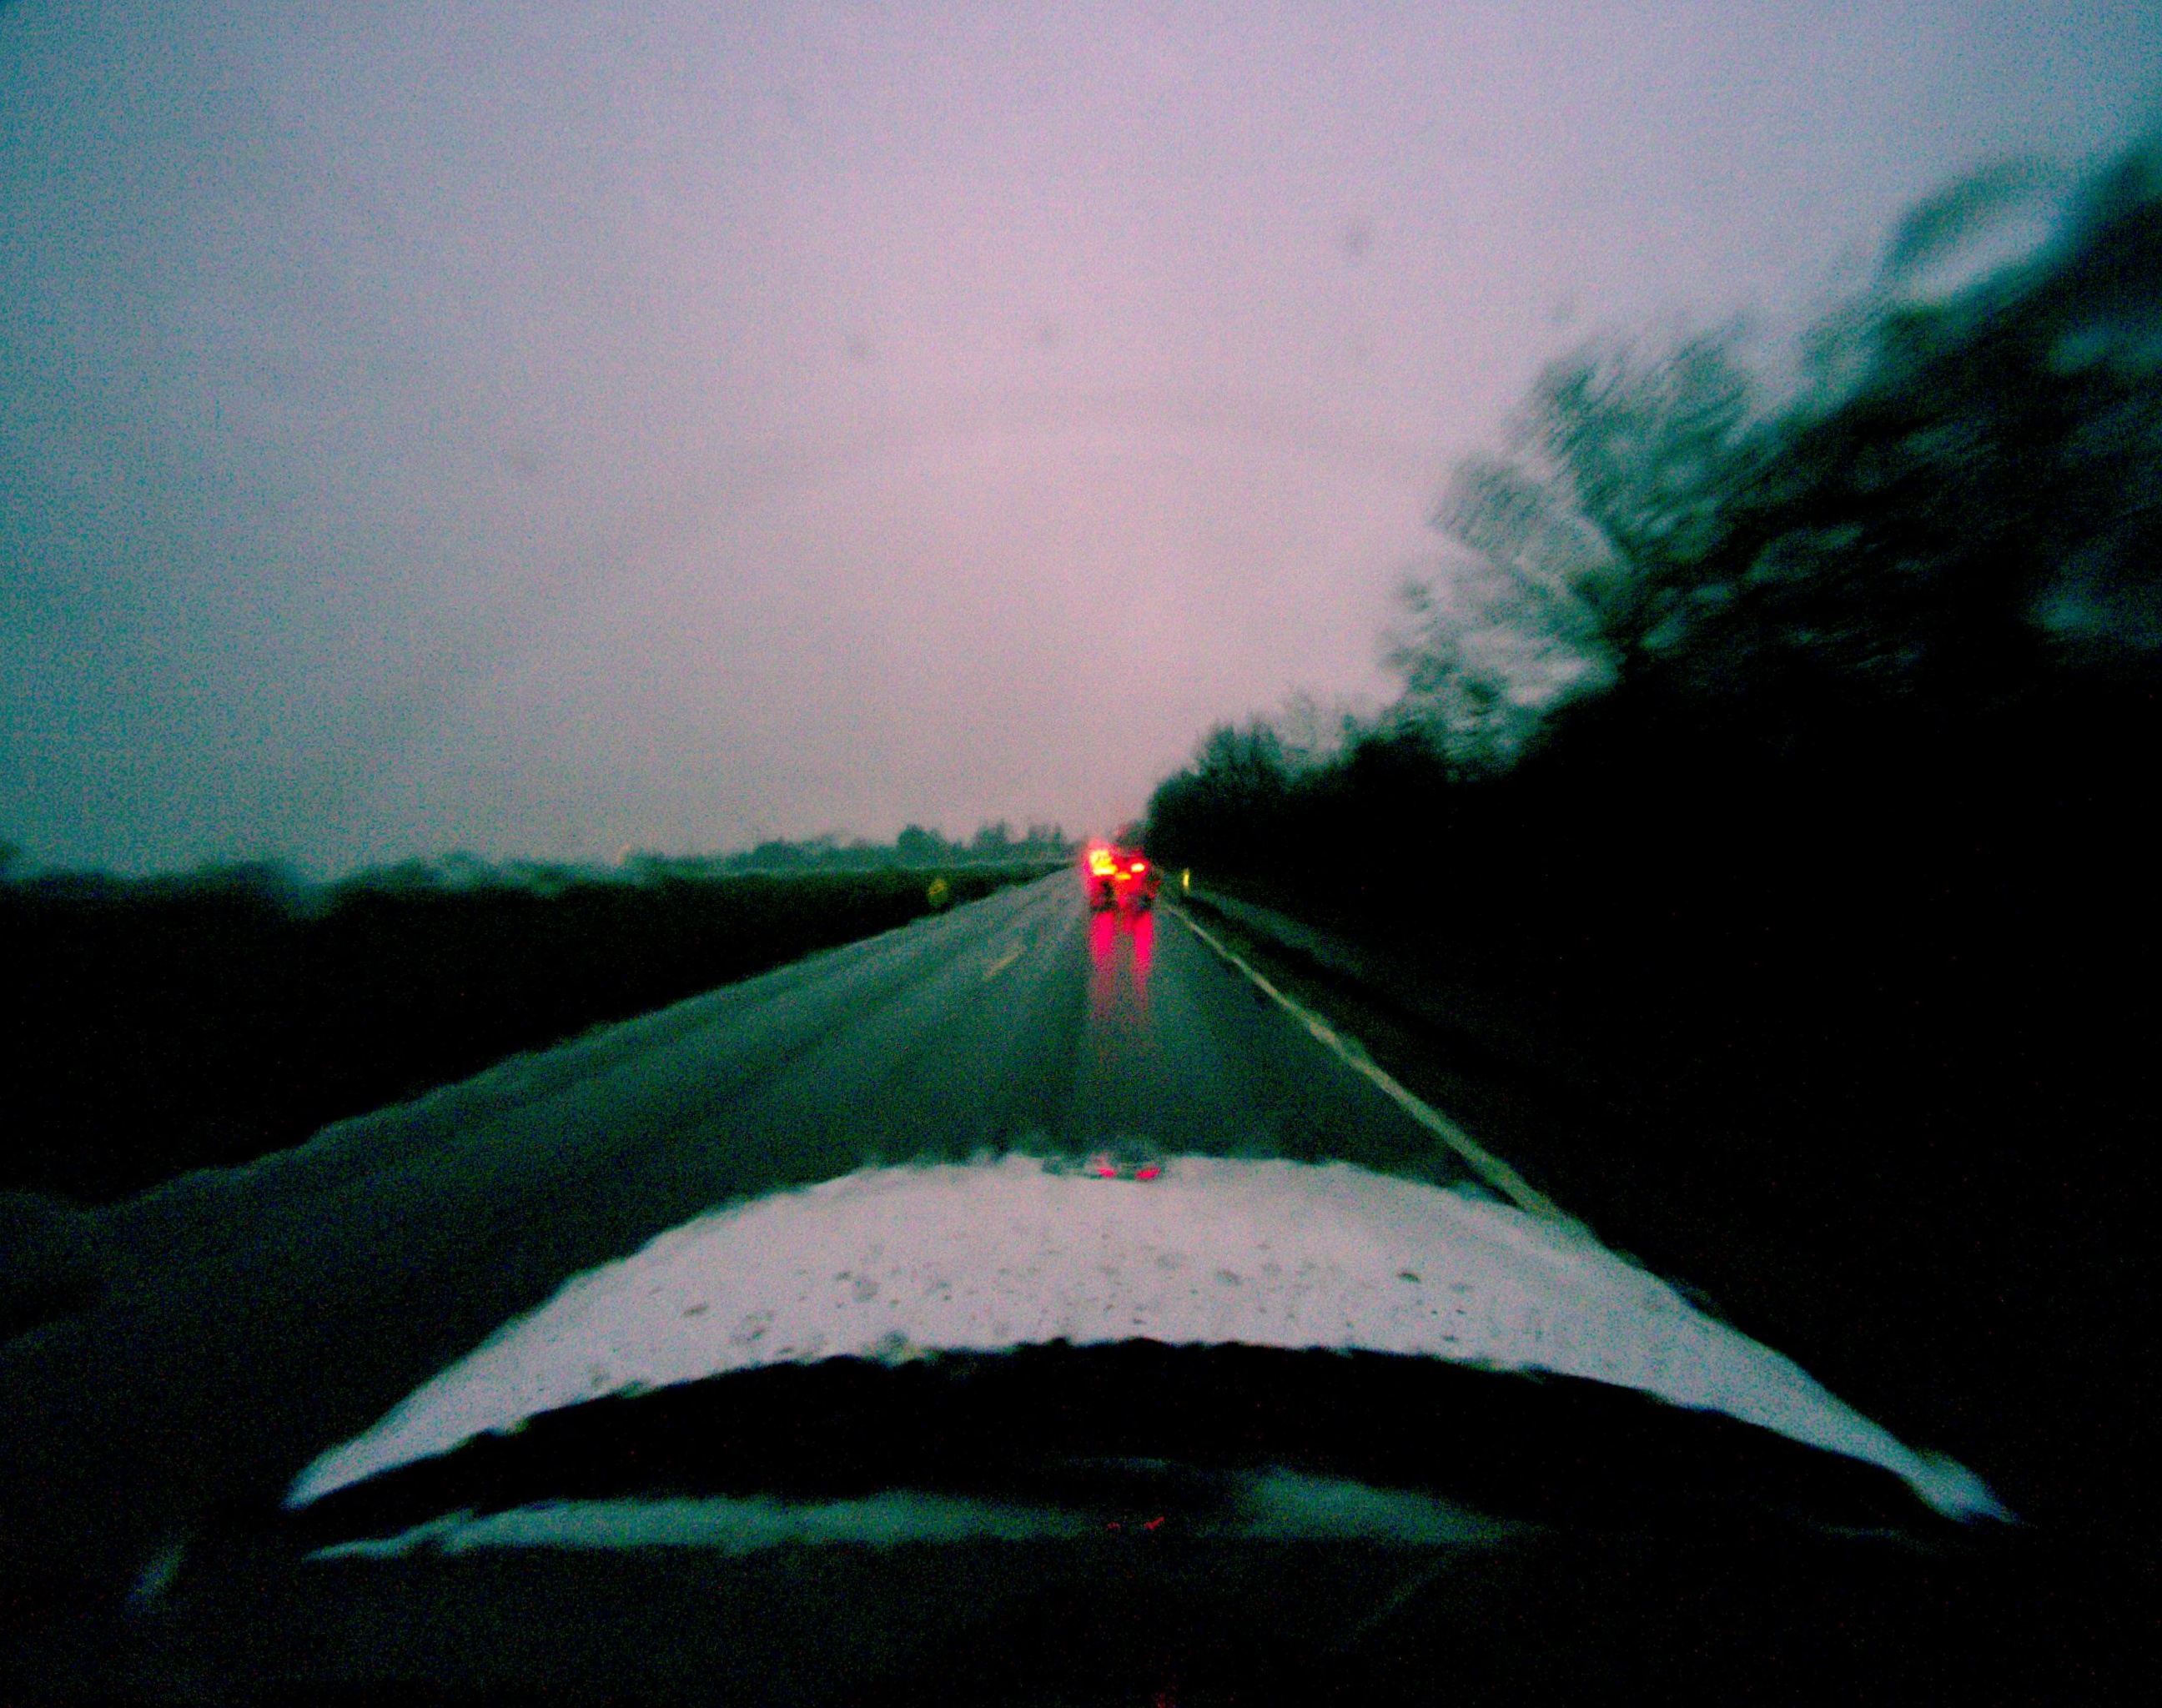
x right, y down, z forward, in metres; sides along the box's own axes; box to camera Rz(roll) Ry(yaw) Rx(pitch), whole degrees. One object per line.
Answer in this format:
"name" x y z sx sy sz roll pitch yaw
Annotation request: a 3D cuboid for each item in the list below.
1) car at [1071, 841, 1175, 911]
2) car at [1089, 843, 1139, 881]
"car" 1.432 0.657 28.594 3.152 2.035 6.855 -2 0 2
"car" 2.017 0.455 49.726 2.745 2.035 6.594 -2 0 2
